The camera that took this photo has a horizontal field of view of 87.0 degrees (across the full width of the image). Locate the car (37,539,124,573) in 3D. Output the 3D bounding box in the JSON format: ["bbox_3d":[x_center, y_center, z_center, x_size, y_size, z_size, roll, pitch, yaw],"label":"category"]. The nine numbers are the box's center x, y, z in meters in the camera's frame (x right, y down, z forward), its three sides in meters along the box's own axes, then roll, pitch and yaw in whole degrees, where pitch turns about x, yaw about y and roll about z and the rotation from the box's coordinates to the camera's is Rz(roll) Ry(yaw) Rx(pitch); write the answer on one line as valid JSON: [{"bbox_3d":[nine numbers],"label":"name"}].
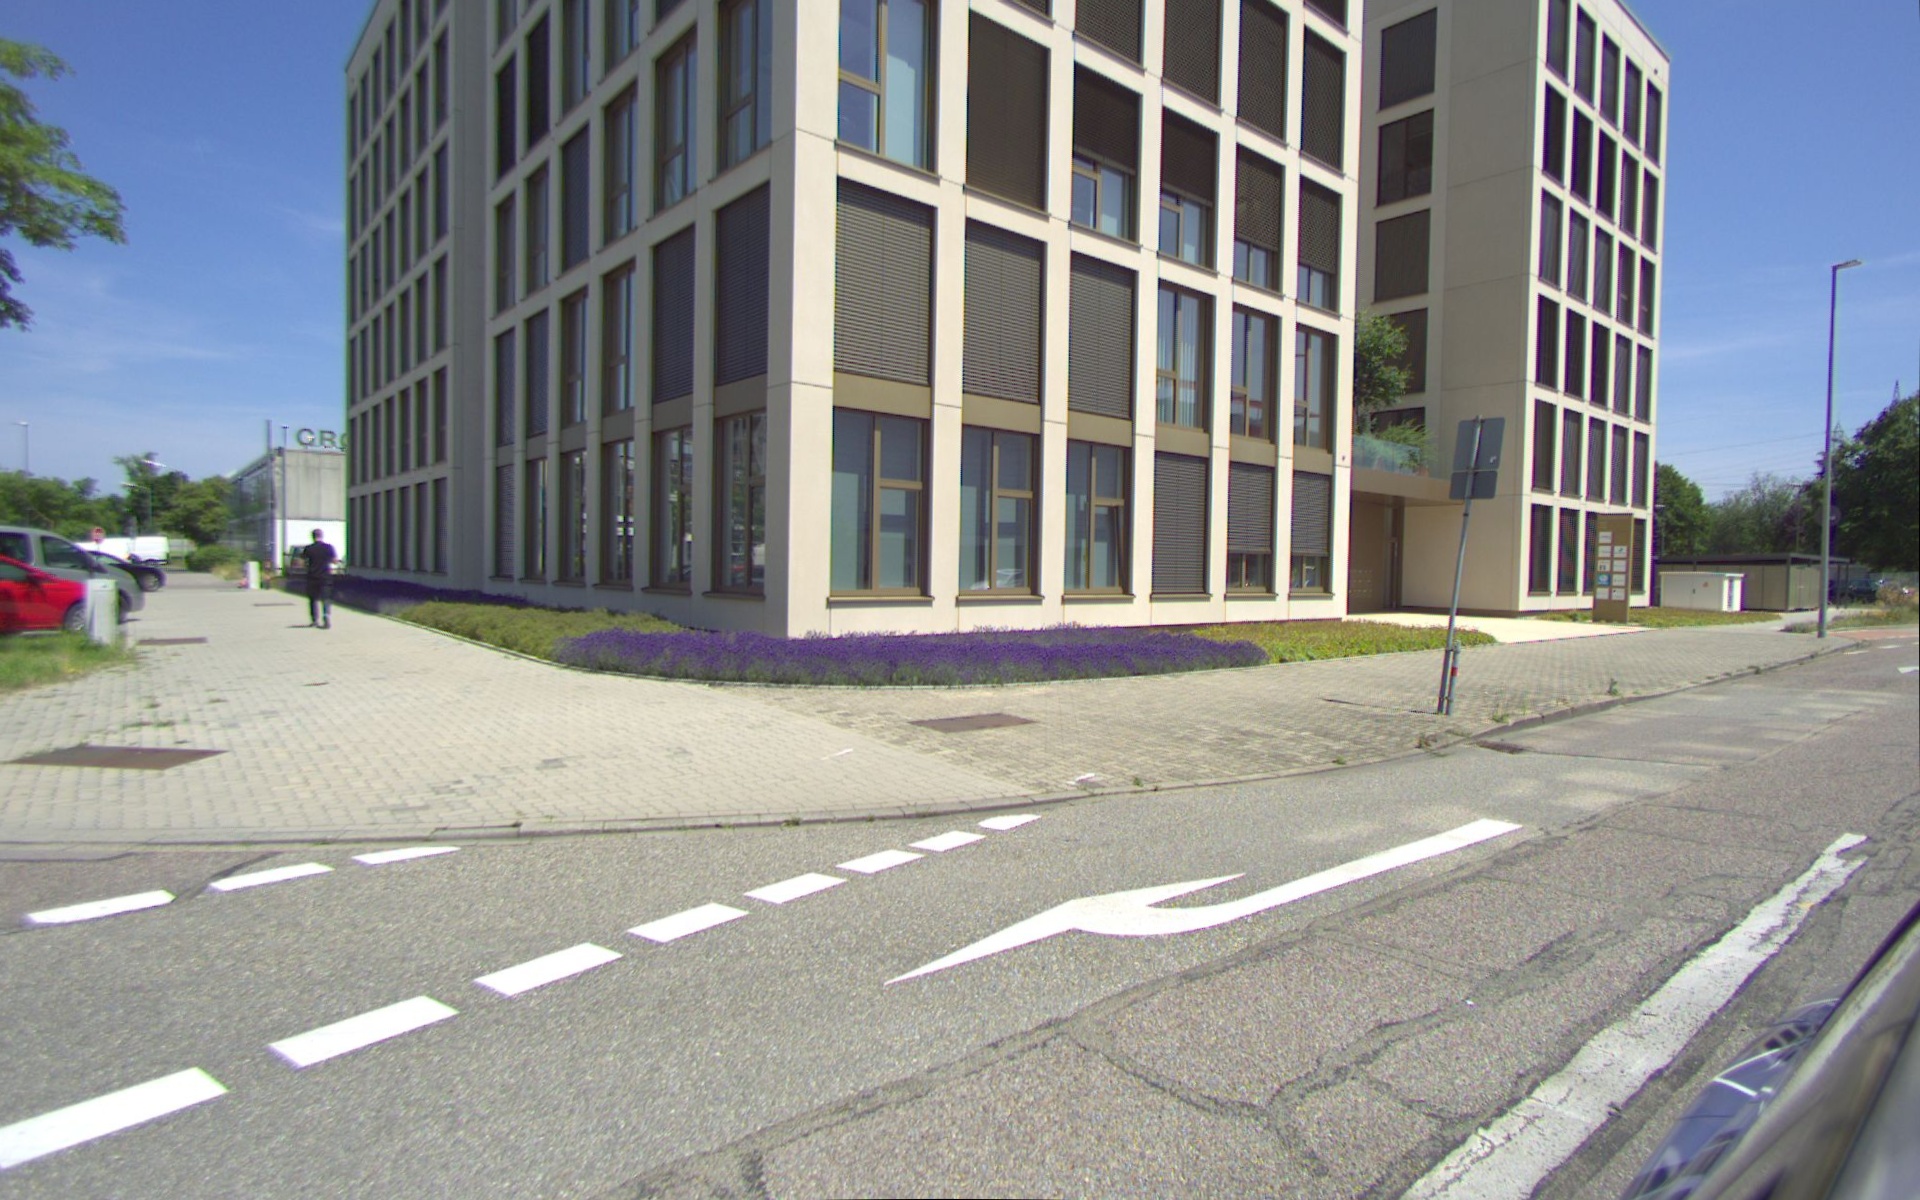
[{"bbox_3d":[-54.963,-2.726,63.341,3.925,2.038,2.000,0,2,-36],"label":"car"}]

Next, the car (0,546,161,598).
[{"bbox_3d":[-29.171,-0.972,33.362,1.792,1.557,4.131,0,3,19],"label":"car"}]

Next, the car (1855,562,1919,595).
[{"bbox_3d":[59.209,-1.333,63.558,3.958,1.977,1.984,2,2,25],"label":"car"}]

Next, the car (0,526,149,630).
[{"bbox_3d":[-17.758,-0.426,18.433,1.676,1.838,4.899,1,2,7],"label":"car"}]

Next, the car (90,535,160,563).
[{"bbox_3d":[-67.520,-4.119,81.909,4.280,2.146,2.094,0,2,-37],"label":"car"}]

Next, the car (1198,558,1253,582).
[{"bbox_3d":[21.121,-2.406,80.559,3.921,1.874,2.002,0,2,-31],"label":"car"}]

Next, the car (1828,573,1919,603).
[{"bbox_3d":[55.708,-0.754,61.578,3.960,1.682,1.822,2,3,26],"label":"car"}]

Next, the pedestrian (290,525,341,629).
[{"bbox_3d":[-11.986,-0.447,18.832,0.758,1.867,0.869,-1,3,-32],"label":"pedestrian"}]

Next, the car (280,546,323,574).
[{"bbox_3d":[-37.926,-2.292,58.251,1.758,1.540,3.574,-1,3,-39],"label":"car"}]

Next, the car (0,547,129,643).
[{"bbox_3d":[-15.404,-0.089,15.594,1.584,1.452,3.991,1,2,9],"label":"car"}]
